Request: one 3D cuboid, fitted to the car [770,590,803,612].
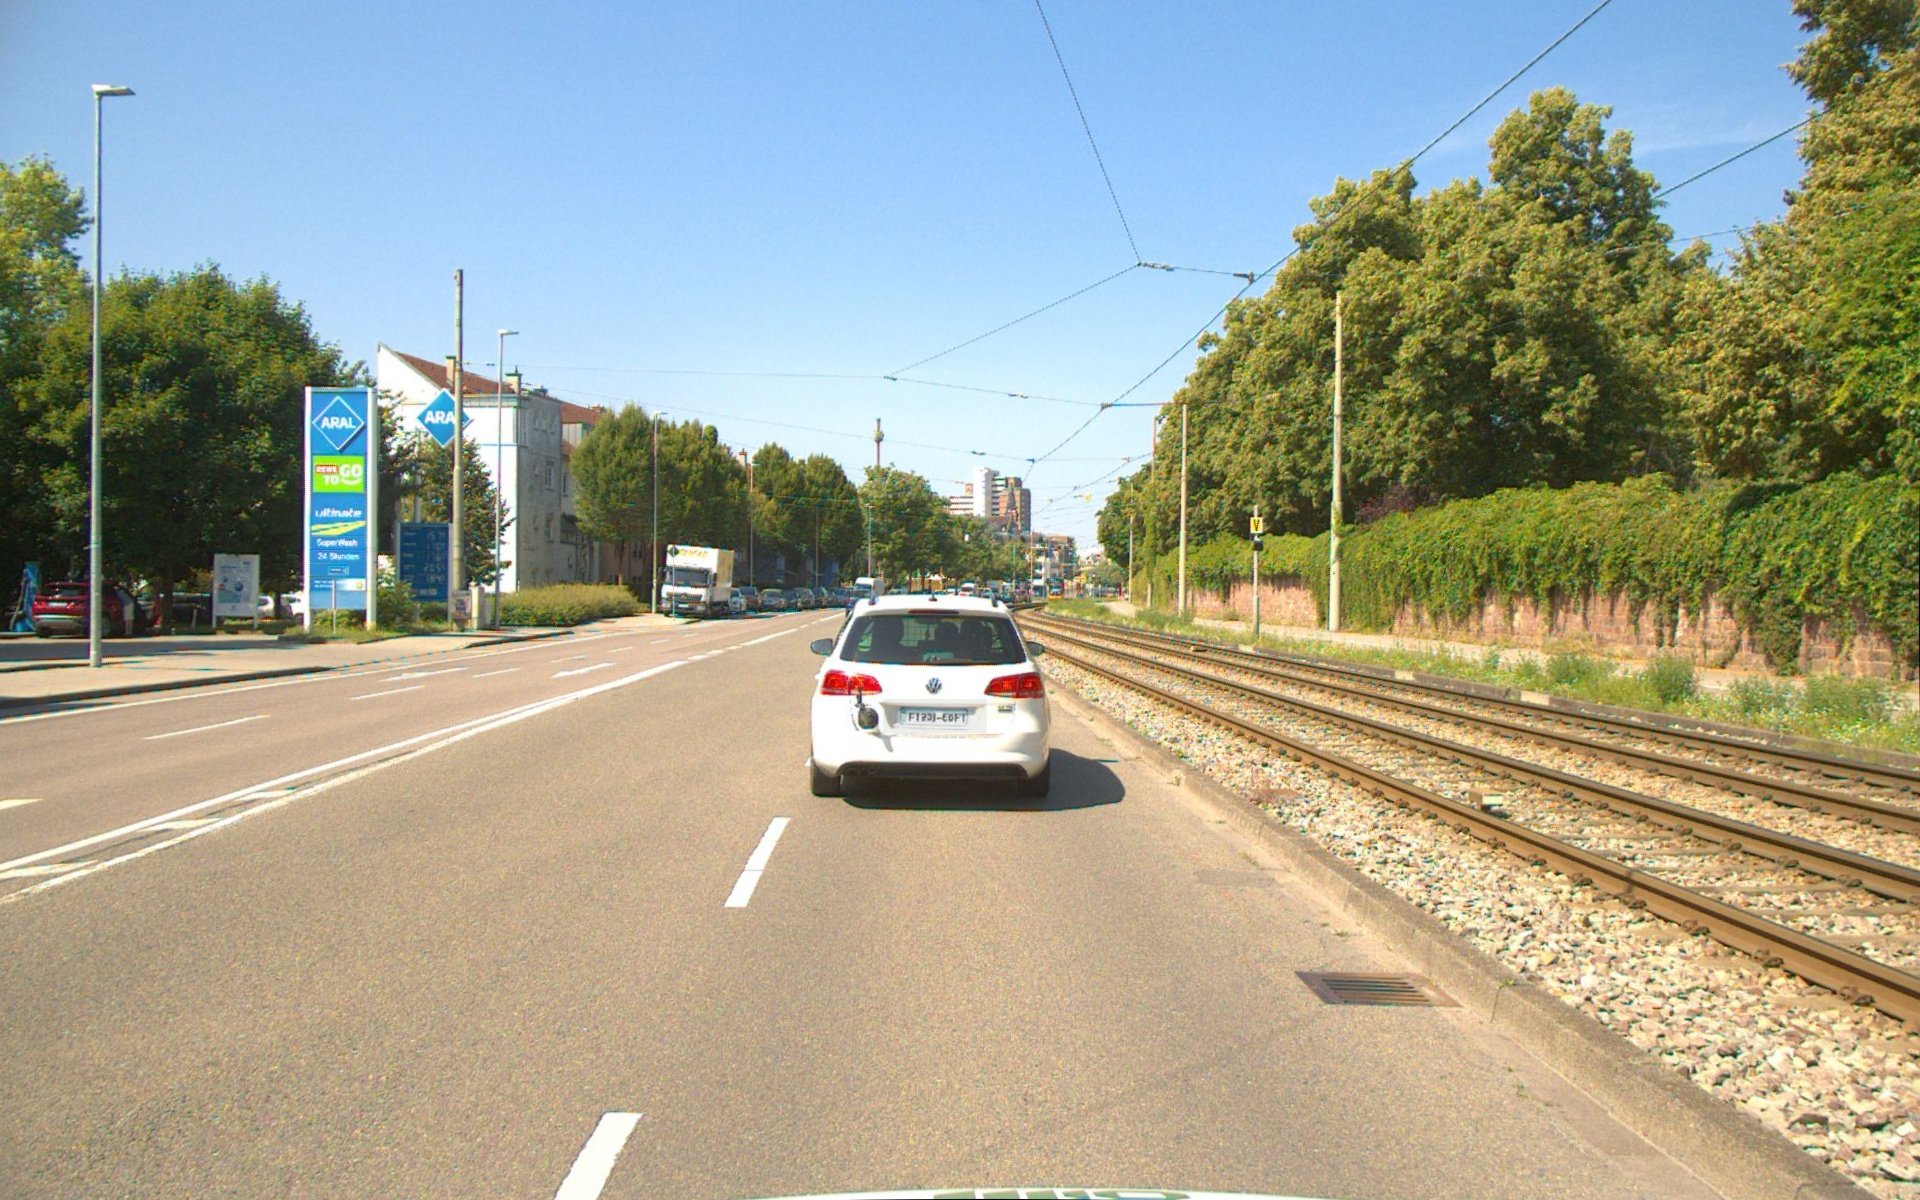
[{"bbox_3d":[-12.737,0.065,121.631,1.687,1.500,4.716,2,0,2],"label":"car"}]

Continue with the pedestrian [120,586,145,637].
[{"bbox_3d":[-24.630,0.329,49.241,0.488,1.507,0.500,0,0,-1],"label":"pedestrian"}]

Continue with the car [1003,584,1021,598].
[{"bbox_3d":[6.030,-1.063,190.606,1.762,1.485,4.003,1,1,6],"label":"car"}]

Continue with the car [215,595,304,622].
[{"bbox_3d":[-32.928,0.392,77.746,3.572,1.226,1.576,0,0,9],"label":"car"}]

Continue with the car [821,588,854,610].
[{"bbox_3d":[-10.629,-0.112,143.713,1.762,1.754,4.913,3,0,8],"label":"car"}]

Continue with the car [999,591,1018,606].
[{"bbox_3d":[5.473,-0.194,184.534,1.762,1.533,4.003,1,1,6],"label":"car"}]

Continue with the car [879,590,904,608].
[{"bbox_3d":[-5.931,-0.092,143.581,1.624,1.445,4.312,-2,0,4],"label":"car"}]

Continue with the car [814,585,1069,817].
[{"bbox_3d":[-0.180,0.656,13.206,1.657,1.476,4.457,1,1,-2],"label":"car"}]

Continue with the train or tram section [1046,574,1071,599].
[{"bbox_3d":[15.631,-2.077,261.507,2.457,3.812,13.322,0,0,9],"label":"train or tram section"}]

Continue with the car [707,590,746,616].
[{"bbox_3d":[-13.581,0.166,96.339,1.722,1.454,4.281,2,0,-1],"label":"car"}]

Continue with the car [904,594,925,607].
[{"bbox_3d":[-5.155,0.034,187.778,1.663,1.442,4.003,0,0,10],"label":"car"}]

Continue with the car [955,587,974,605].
[{"bbox_3d":[0.656,-0.563,234.607,1.840,2.458,5.120,0,0,10],"label":"car"}]

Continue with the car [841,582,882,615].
[{"bbox_3d":[-4.967,-0.088,83.522,1.763,1.533,4.001,1,1,0],"label":"car"}]

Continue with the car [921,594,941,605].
[{"bbox_3d":[-3.517,-0.062,200.582,1.663,1.376,4.003,0,0,10],"label":"car"}]

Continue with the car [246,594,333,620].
[{"bbox_3d":[-32.430,0.317,80.033,3.572,1.226,1.576,0,0,9],"label":"car"}]

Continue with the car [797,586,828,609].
[{"bbox_3d":[-11.851,-0.183,133.131,1.733,1.753,4.871,2,0,2],"label":"car"}]

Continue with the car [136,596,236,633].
[{"bbox_3d":[-32.592,0.598,69.713,3.522,1.509,1.662,0,0,12],"label":"car"}]

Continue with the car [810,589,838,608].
[{"bbox_3d":[-11.403,-0.111,138.600,1.655,1.500,4.051,3,0,5],"label":"car"}]

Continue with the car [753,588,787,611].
[{"bbox_3d":[-13.213,0.009,115.032,1.744,1.509,4.857,2,0,0],"label":"car"}]

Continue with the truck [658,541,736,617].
[{"bbox_3d":[-13.280,-1.055,84.118,2.613,3.591,8.589,2,0,-1],"label":"truck"}]

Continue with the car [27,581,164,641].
[{"bbox_3d":[-25.371,0.276,48.728,1.763,1.597,4.517,0,2,-2],"label":"car"}]
